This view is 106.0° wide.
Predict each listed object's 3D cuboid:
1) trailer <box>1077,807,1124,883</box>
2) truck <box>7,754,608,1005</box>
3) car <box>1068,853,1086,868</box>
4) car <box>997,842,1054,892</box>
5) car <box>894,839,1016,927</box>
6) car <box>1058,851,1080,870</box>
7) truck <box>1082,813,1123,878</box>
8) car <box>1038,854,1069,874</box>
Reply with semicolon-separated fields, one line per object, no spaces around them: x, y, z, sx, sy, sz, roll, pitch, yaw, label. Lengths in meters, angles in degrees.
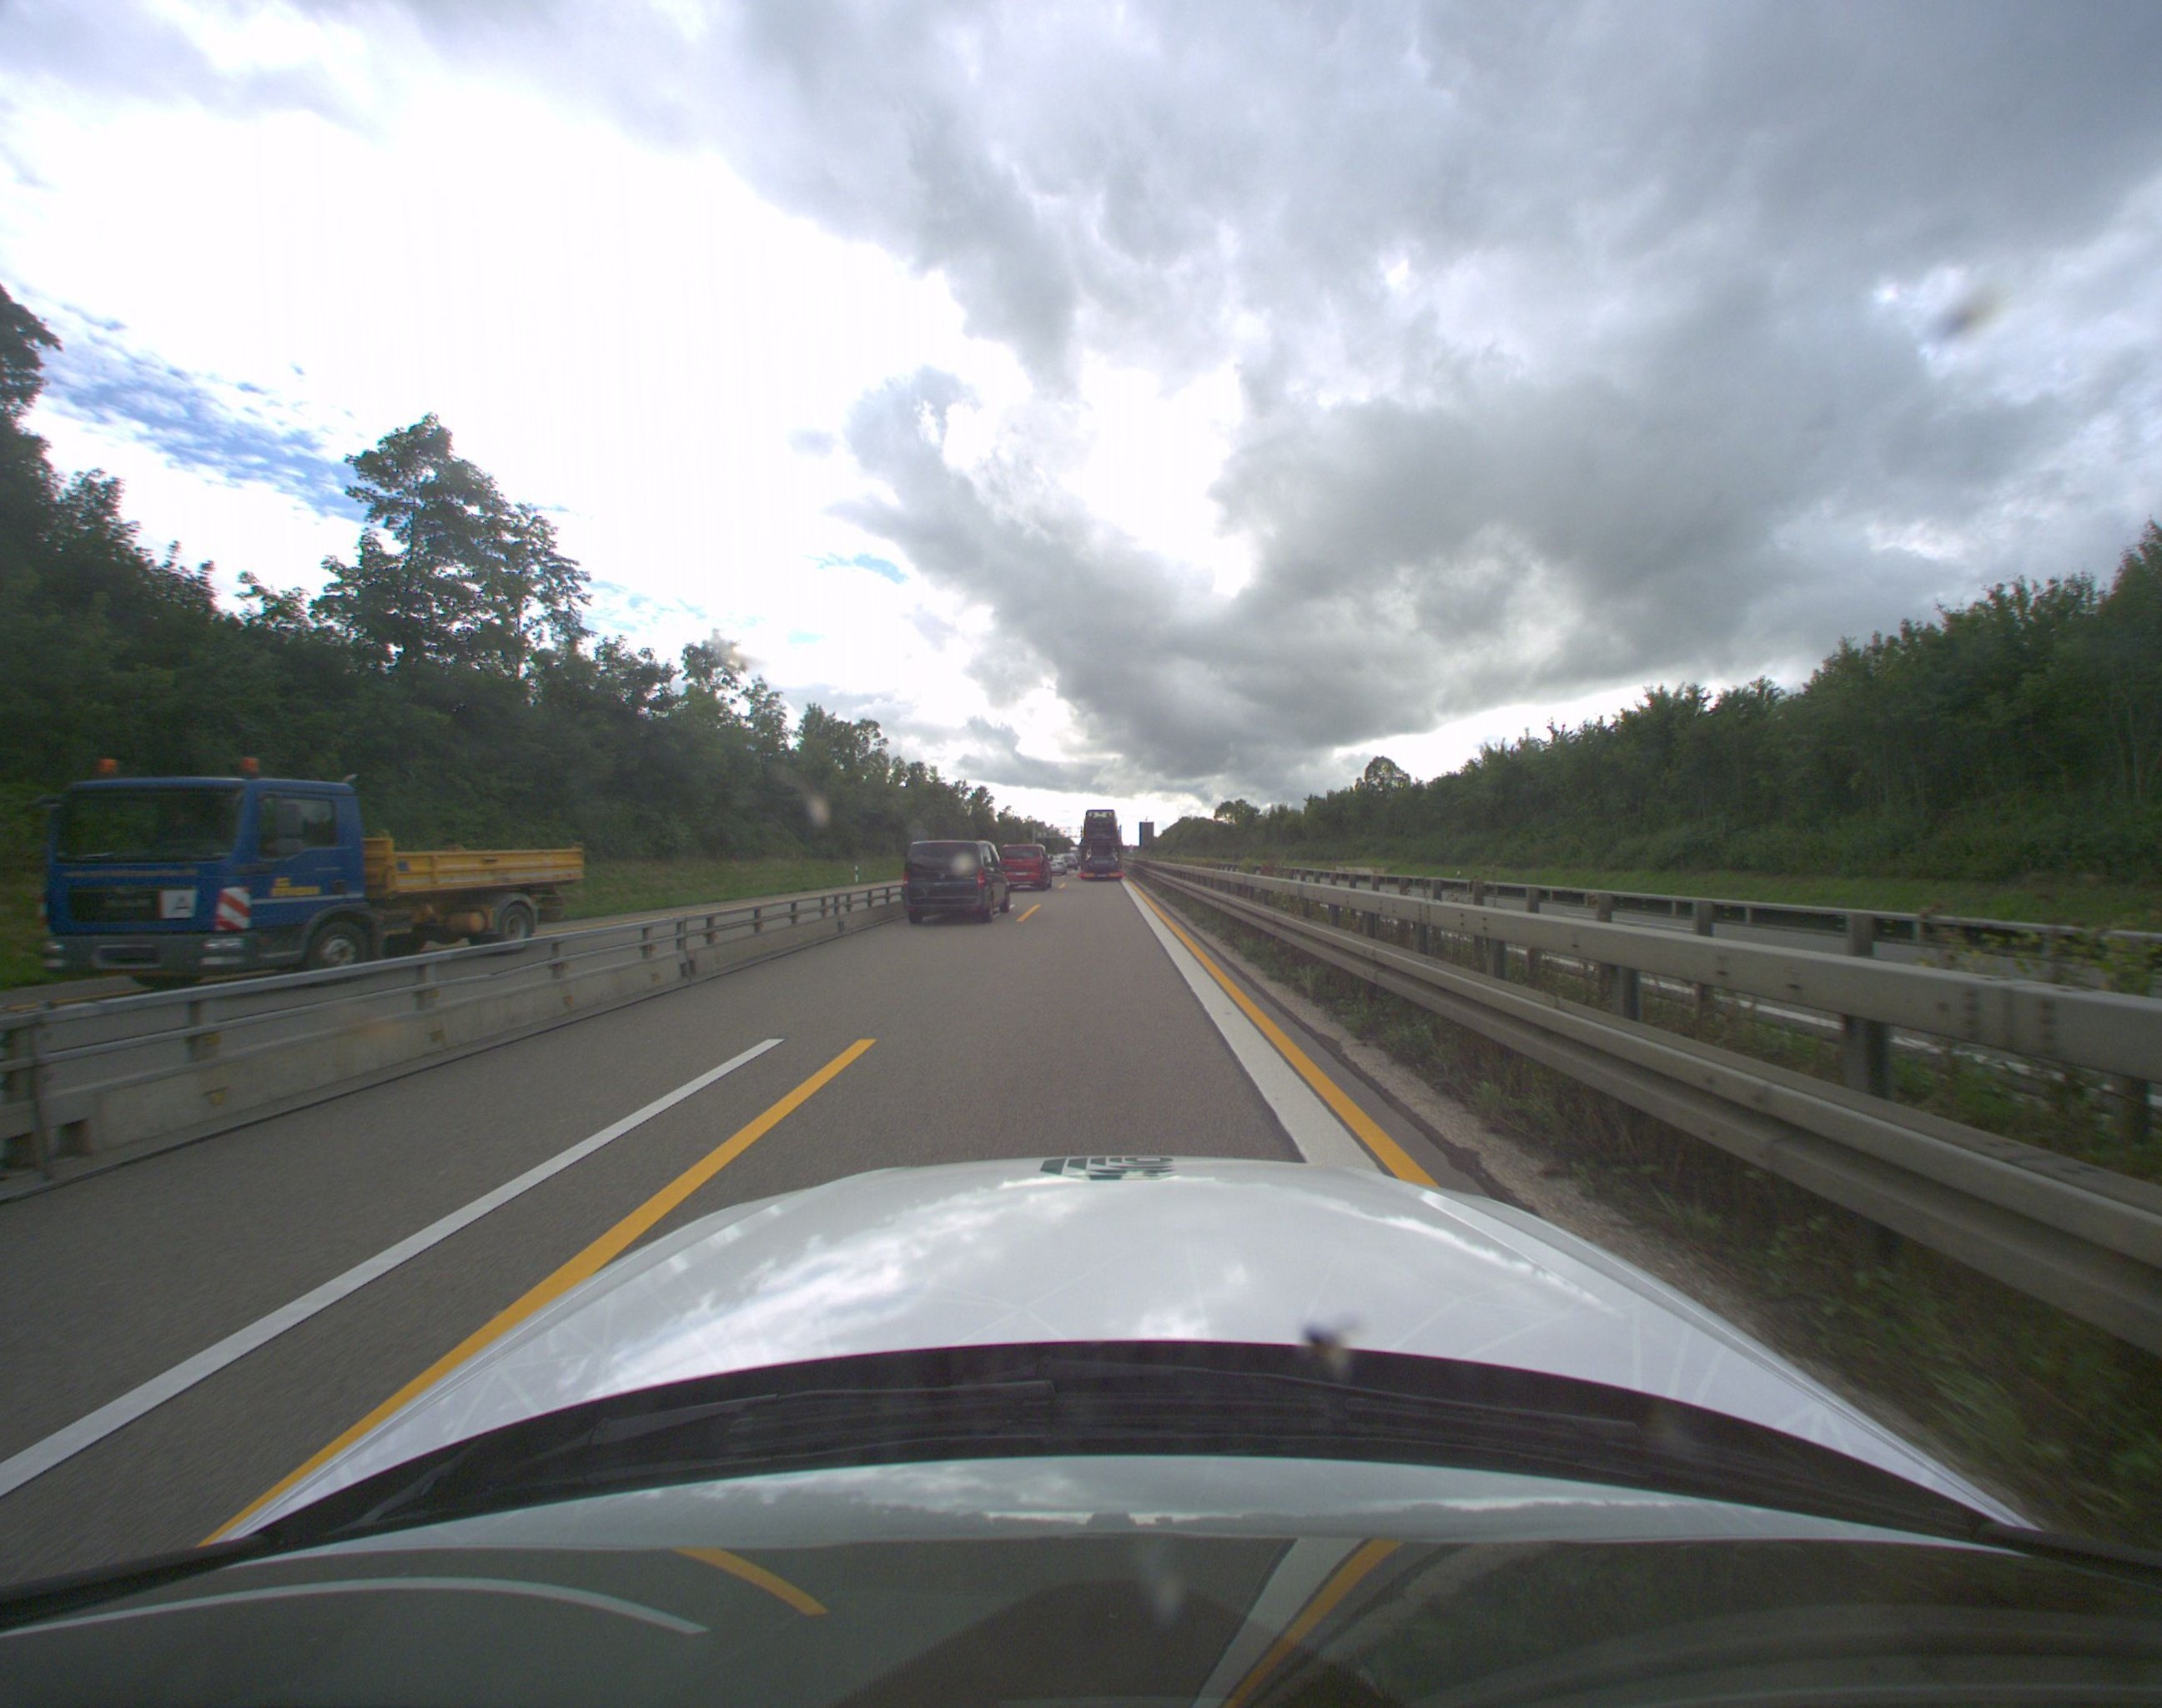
1.297;-0.494;50.067;2.505;4.105;11.119;-1;0;2;trailer
-10.394;0.277;12.227;2.480;2.718;6.670;-1;0;2;truck
-0.426;0.775;96.431;2.024;1.757;4.578;-1;0;1;car
-2.345;0.541;35.558;2.023;2.013;4.579;-1;0;1;car
-2.933;0.617;20.290;1.986;1.843;5.611;-1;0;2;car
-1.153;0.651;79.982;2.024;1.757;4.578;-1;0;1;car
1.480;-0.516;54.812;2.506;4.105;5.688;-1;0;2;truck
-2.003;0.714;60.371;2.024;1.430;4.578;-1;0;1;car
